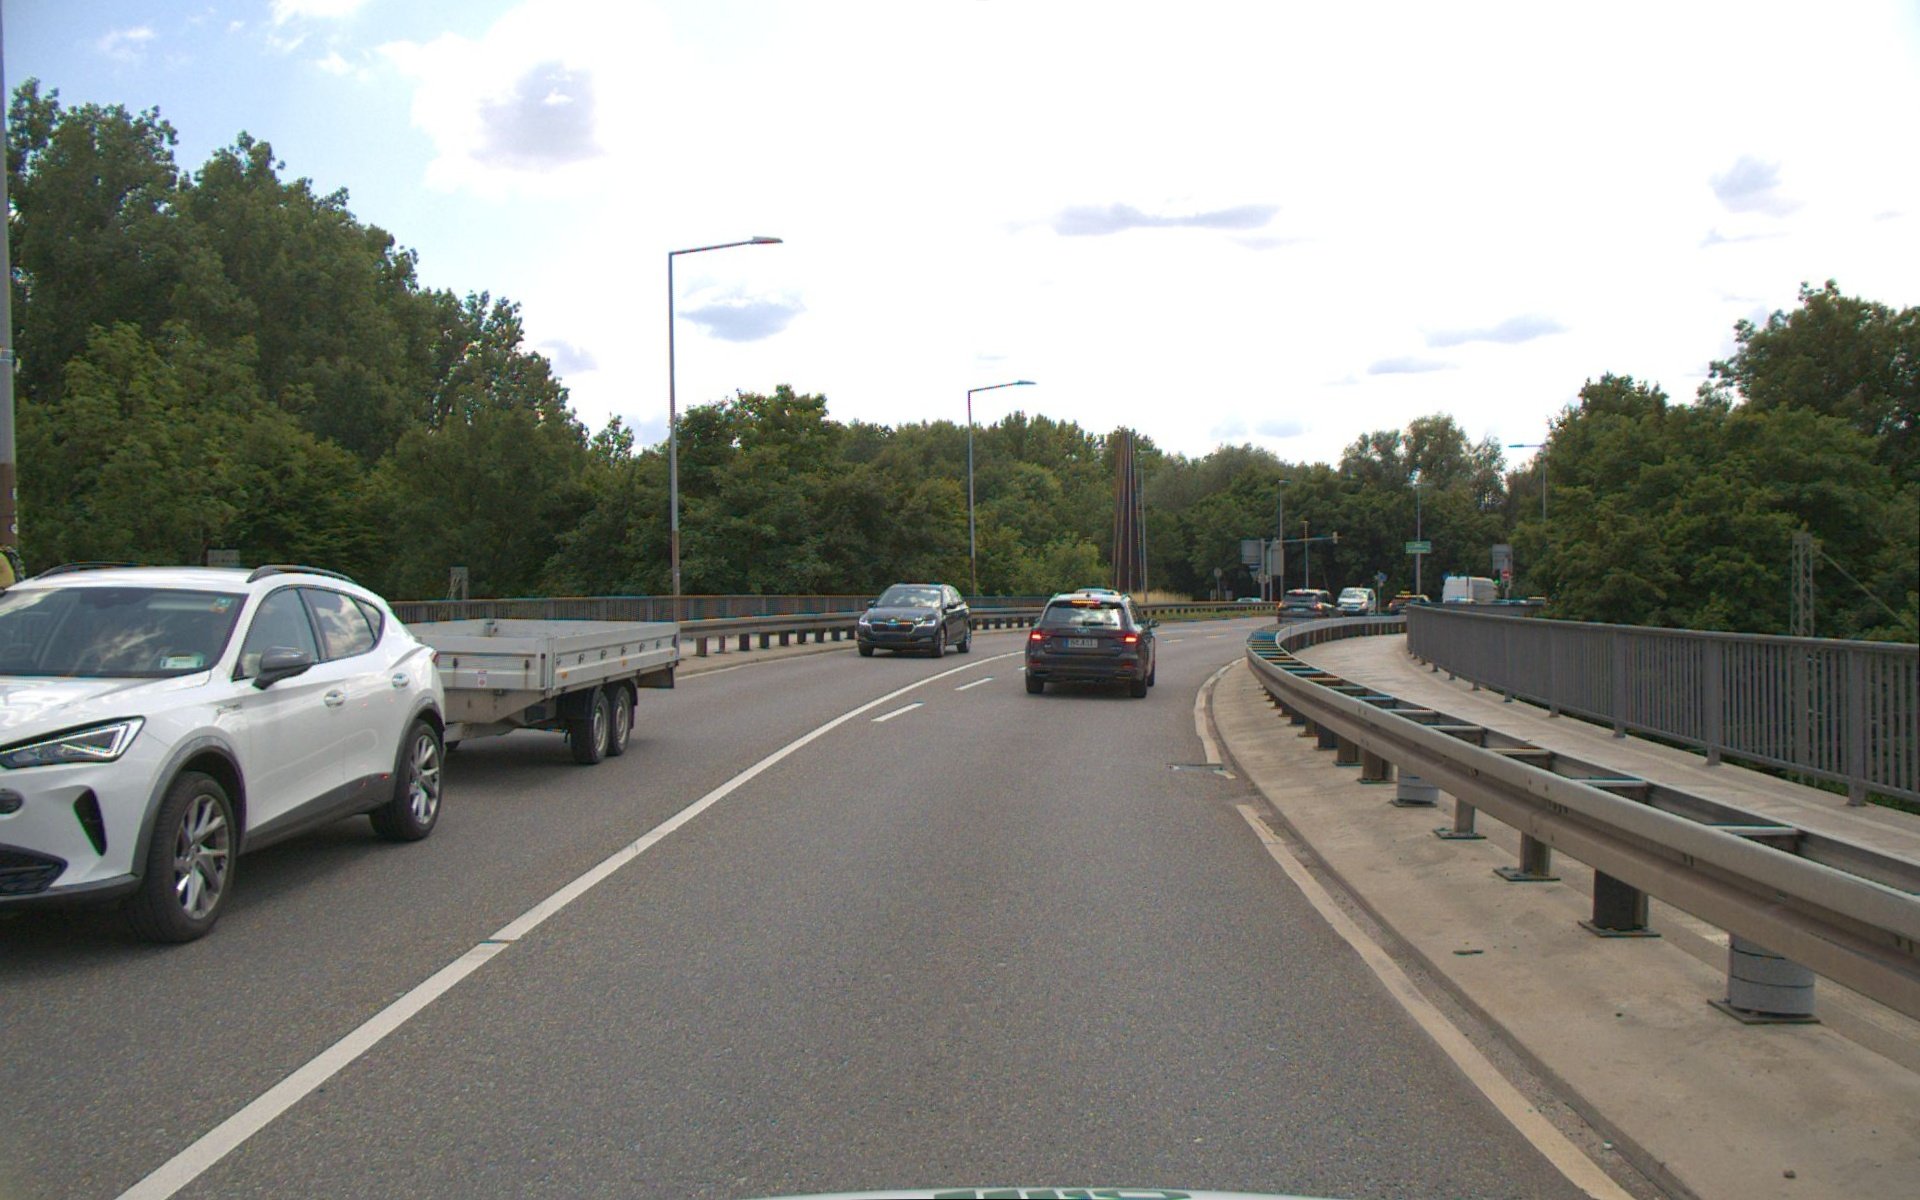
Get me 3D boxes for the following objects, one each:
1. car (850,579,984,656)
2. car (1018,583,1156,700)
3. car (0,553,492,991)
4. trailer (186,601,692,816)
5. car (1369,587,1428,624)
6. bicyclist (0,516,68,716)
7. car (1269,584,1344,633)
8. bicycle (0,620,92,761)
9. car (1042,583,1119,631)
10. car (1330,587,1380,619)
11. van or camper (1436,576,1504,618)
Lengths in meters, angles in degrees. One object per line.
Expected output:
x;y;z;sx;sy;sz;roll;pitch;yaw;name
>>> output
-0.832;0.318;35.429;1.778;1.476;4.741;1;1;12;car
1.998;0.550;24.988;1.789;1.517;4.211;1;1;8;car
-3.873;0.580;8.121;1.769;1.562;4.350;1;1;2;car
-3.745;0.679;13.331;2.003;1.230;5.984;1;1;2;trailer
20.675;0.259;77.908;1.702;1.680;3.847;1;1;31;car
-8.159;0.128;13.949;0.751;1.630;0.947;0;0;-1;bicyclist
12.956;0.303;61.659;1.786;1.680;3.852;2;1;26;car
-8.159;0.745;13.784;0.753;1.114;2.115;0;0;-1;bicycle
3.957;0.210;53.922;1.776;1.477;3.929;2;1;15;car
23.236;0.186;97.155;1.779;1.784;4.299;2;1;28;car
30.096;-0.155;97.508;2.235;2.381;5.220;2;1;36;van or camper
